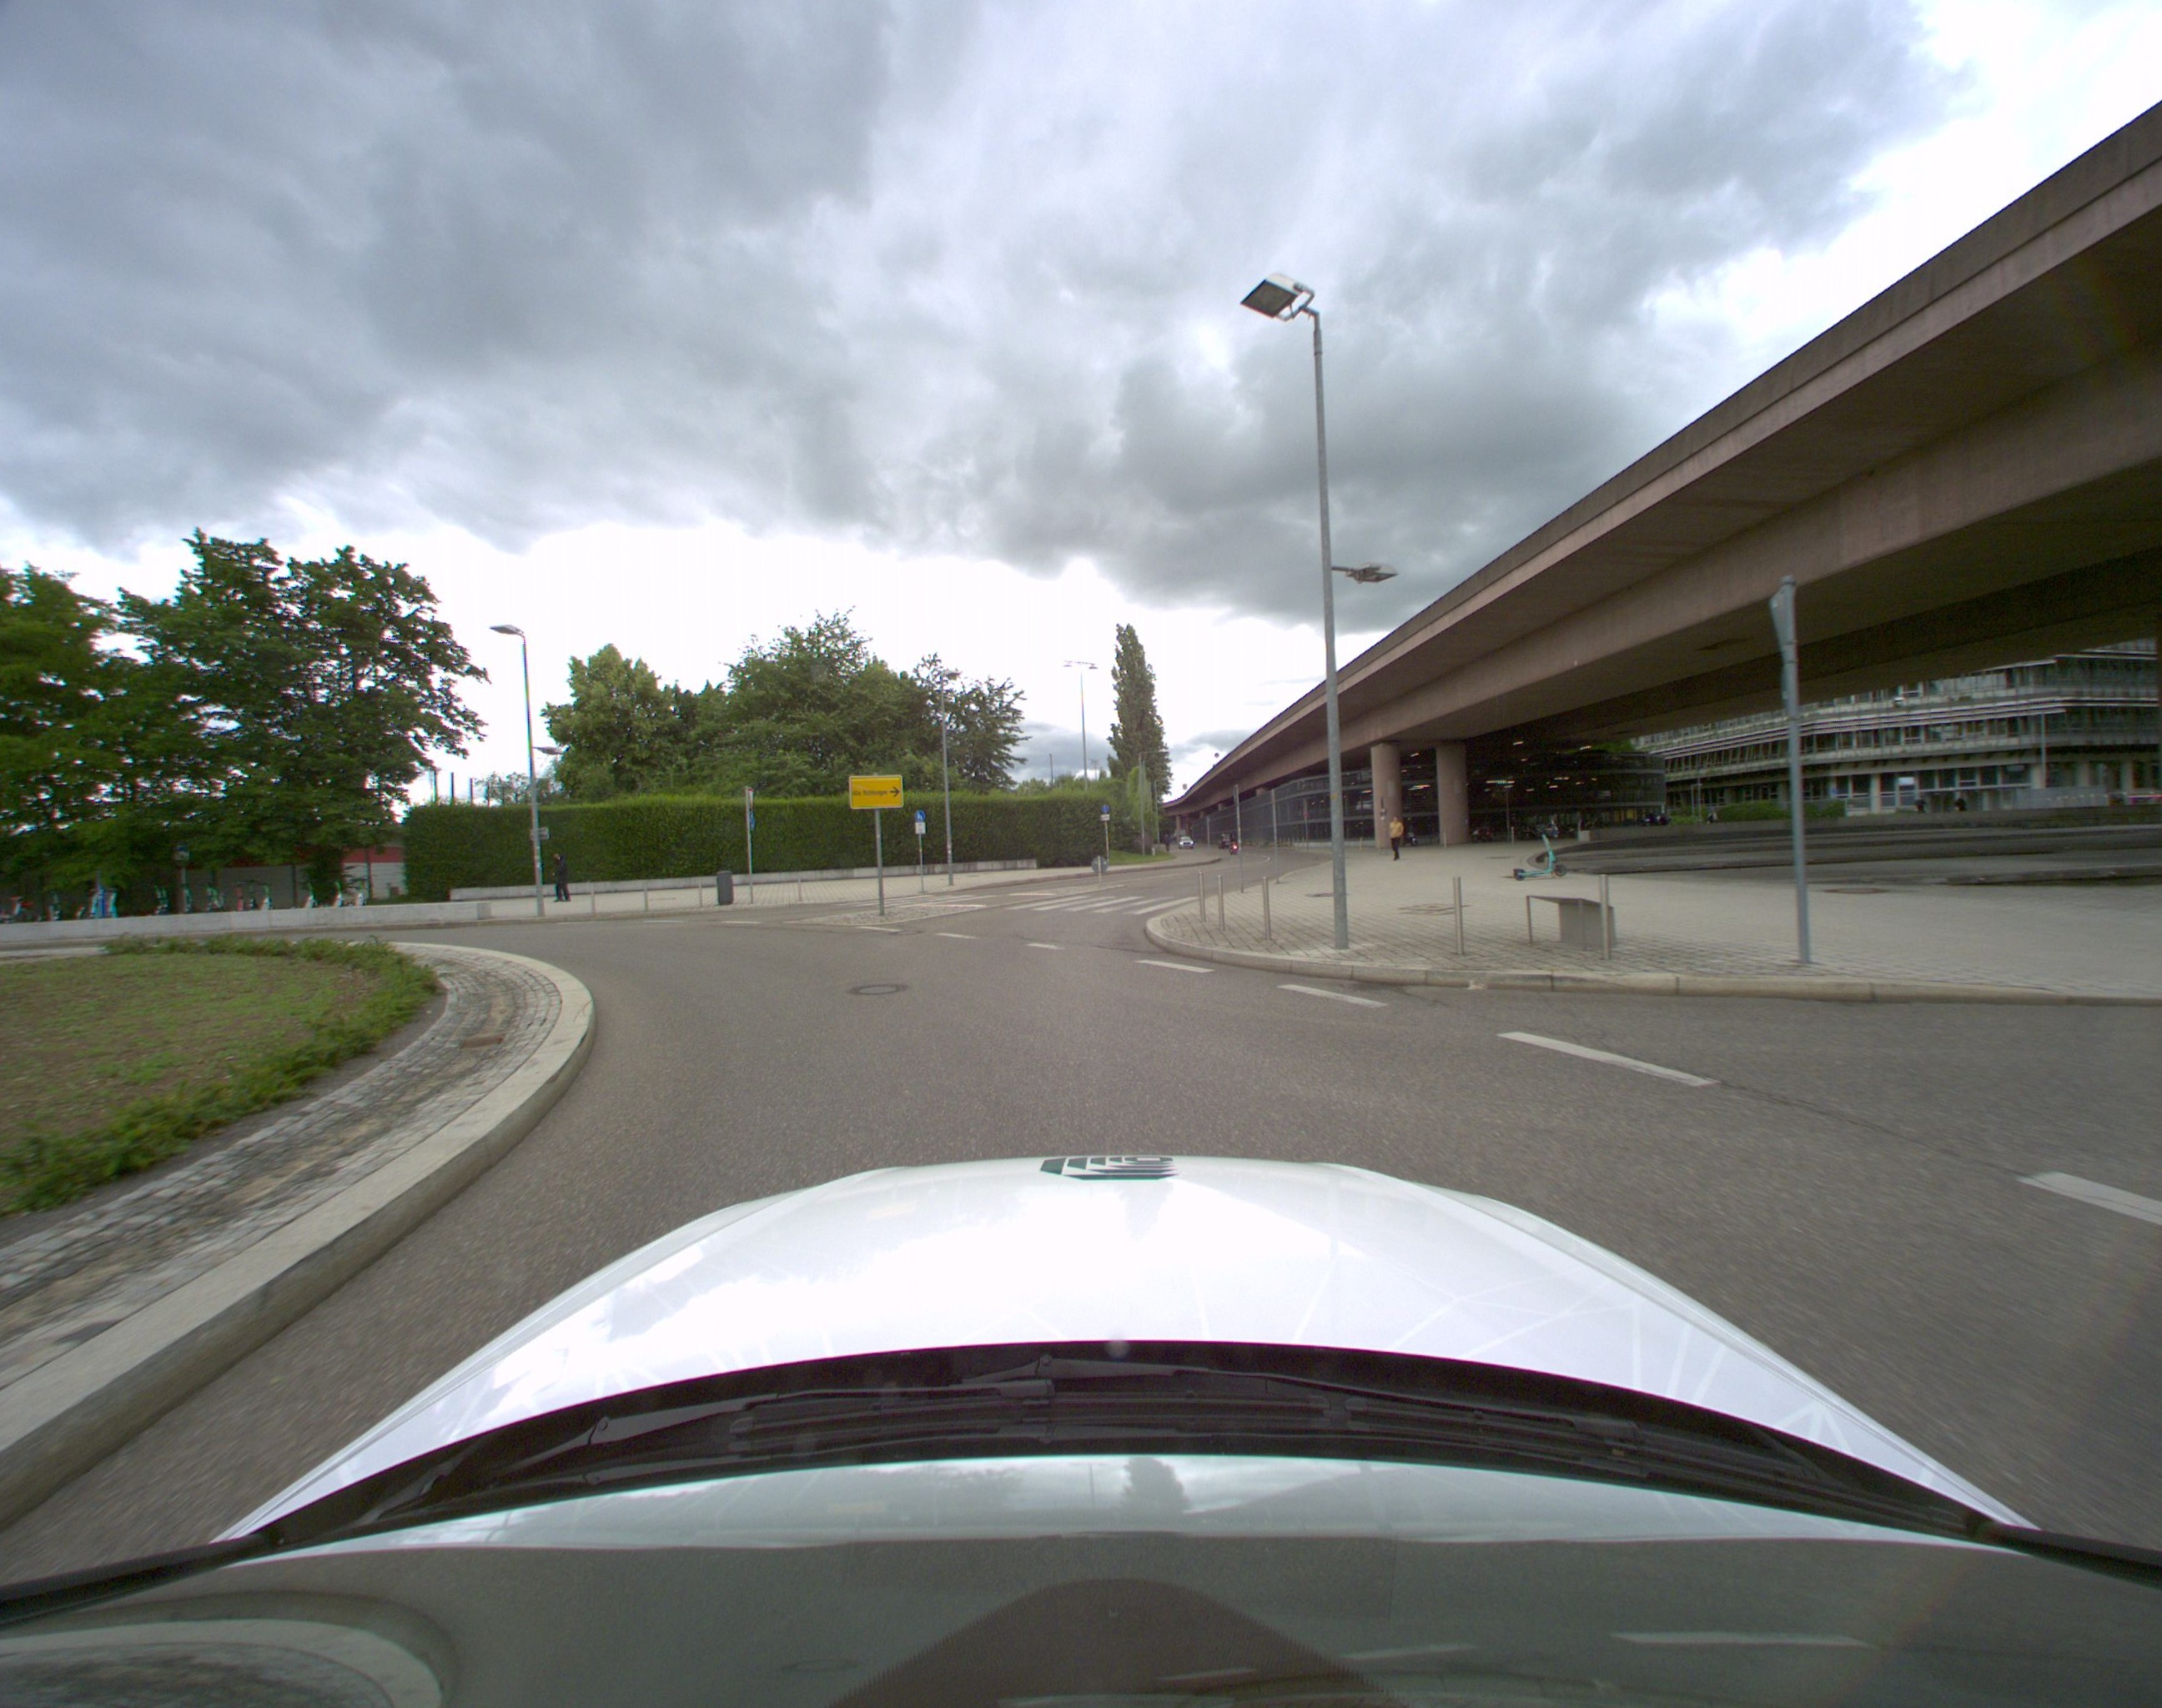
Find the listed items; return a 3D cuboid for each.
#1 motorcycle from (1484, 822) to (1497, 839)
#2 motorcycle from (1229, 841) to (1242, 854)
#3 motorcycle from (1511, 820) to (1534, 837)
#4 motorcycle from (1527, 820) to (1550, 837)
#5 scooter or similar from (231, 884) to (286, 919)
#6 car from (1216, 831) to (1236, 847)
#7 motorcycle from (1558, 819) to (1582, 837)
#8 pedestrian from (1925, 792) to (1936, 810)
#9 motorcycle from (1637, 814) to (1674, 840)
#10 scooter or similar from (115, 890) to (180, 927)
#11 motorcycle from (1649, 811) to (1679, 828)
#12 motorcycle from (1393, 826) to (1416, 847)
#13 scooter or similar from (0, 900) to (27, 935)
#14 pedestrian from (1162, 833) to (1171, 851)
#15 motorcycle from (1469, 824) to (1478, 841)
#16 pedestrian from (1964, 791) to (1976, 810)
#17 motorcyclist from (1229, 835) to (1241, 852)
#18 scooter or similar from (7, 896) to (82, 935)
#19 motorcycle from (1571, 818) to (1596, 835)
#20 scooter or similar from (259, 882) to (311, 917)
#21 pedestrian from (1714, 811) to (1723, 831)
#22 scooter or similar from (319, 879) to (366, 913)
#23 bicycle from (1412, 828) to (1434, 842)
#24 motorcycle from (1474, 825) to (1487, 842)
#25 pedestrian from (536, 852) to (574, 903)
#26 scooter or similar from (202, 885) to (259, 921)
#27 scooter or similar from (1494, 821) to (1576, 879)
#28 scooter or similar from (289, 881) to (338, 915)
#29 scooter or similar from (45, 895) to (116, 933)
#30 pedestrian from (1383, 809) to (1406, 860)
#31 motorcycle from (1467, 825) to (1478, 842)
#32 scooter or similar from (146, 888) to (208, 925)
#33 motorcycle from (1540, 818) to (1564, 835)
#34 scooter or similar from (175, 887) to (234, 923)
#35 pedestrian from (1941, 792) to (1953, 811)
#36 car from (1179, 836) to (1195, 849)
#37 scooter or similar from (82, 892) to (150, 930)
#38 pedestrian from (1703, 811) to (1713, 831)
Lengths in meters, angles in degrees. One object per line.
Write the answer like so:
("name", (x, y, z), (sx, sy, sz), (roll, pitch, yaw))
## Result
("motorcycle", (30.651, -1.757, 60.980), (0.822, 1.220, 2.091), (-3, 2, 25))
("motorcycle", (13.213, -0.554, 69.846), (0.743, 1.022, 1.957), (-3, 2, 2))
("motorcycle", (32.989, -1.879, 60.846), (0.669, 1.220, 2.082), (-3, 2, 4))
("motorcycle", (34.060, -1.934, 60.682), (0.669, 1.220, 2.082), (-3, 2, 4))
("scooter or similar", (-30.135, 1.716, 29.877), (0.641, 1.109, 1.960), (-4, 2, -23))
("car", (17.161, -1.810, 96.266), (1.831, 1.711, 3.710), (-3, 2, 4))
("motorcycle", (36.384, -1.967, 60.632), (0.669, 1.285, 2.082), (-3, 2, 4))
("pedestrian", (70.807, -4.397, 67.872), (0.546, 1.481, 0.492), (-4, 2, -28))
("motorcycle", (30.829, -1.456, 43.718), (1.940, 1.264, 0.545), (-4, 2, -19))
("scooter or similar", (-32.825, 1.910, 28.681), (0.641, 1.109, 1.960), (-4, 2, -23))
("motorcycle", (44.124, -2.585, 61.681), (0.669, 1.220, 2.367), (-3, 2, 4))
("motorcycle", (23.629, -1.290, 59.465), (0.642, 1.454, 1.755), (-4, 2, -12))
("scooter or similar", (-36.384, 2.166, 27.102), (0.641, 1.109, 1.960), (-4, 2, -23))
("pedestrian", (8.770, -1.213, 83.550), (0.799, 1.780, 0.922), (-3, 2, 6))
("motorcycle", (29.808, -1.665, 61.879), (0.516, 1.220, 1.157), (-3, 2, 21))
("pedestrian", (70.416, -4.250, 64.520), (0.546, 1.481, 0.492), (-4, 2, -28))
("motorcyclist", (13.194, -0.912, 69.844), (0.759, 1.419, 0.870), (-3, 2, 1))
("scooter or similar", (-35.136, 2.075, 27.633), (0.641, 1.109, 1.960), (-4, 2, -23))
("motorcycle", (37.427, -2.040, 60.664), (0.669, 1.220, 2.081), (-3, 2, 4))
("scooter or similar", (-29.477, 1.670, 30.207), (0.641, 1.109, 1.960), (-4, 2, -23))
("pedestrian", (65.205, -3.367, 83.315), (0.524, 2.013, 0.576), (-2, 0, 11))
("scooter or similar", (-27.972, 1.568, 30.876), (0.641, 1.109, 1.960), (-4, 2, -23))
("bicycle", (27.048, -1.501, 64.419), (1.458, 0.976, 0.454), (-2, 2, 29))
("motorcycle", (28.413, -1.458, 57.893), (0.515, 1.171, 1.157), (-2, -1, 40))
("pedestrian", (-19.582, 0.845, 30.328), (0.865, 1.807, 0.789), (-4, 2, -16))
("scooter or similar", (-30.835, 1.753, 29.569), (0.641, 1.109, 1.960), (-4, 2, -23))
("scooter or similar", (10.904, -0.093, 19.604), (1.630, 1.295, 0.521), (-3, 2, 18))
("scooter or similar", (-28.746, 1.625, 30.539), (0.641, 1.109, 1.960), (-4, 2, -23))
("scooter or similar", (-34.361, 2.028, 28.001), (0.641, 1.109, 1.960), (-4, 2, -23))
("pedestrian", (12.839, -0.795, 33.320), (0.775, 2.013, 1.045), (-3, 2, 21))
("motorcycle", (29.084, -1.540, 60.478), (0.515, 1.220, 1.158), (-2, 2, 34))
("scooter or similar", (-32.112, 1.850, 28.967), (0.641, 1.109, 1.960), (-4, 2, -23))
("motorcycle", (35.146, -2.050, 60.762), (0.669, 1.220, 2.082), (-3, 2, 4))
("scooter or similar", (-31.469, 1.826, 29.272), (0.641, 1.109, 1.960), (-4, 2, -23))
("pedestrian", (69.798, -4.245, 65.629), (0.546, 1.481, 0.492), (-4, 2, -28))
("car", (15.091, -1.632, 116.112), (1.857, 1.683, 4.408), (-3, 2, 2))
("scooter or similar", (-33.567, 1.964, 28.361), (0.641, 1.109, 1.960), (-4, 2, -23))
("pedestrian", (64.688, -3.360, 84.006), (0.524, 2.013, 0.576), (-2, 0, 11))
